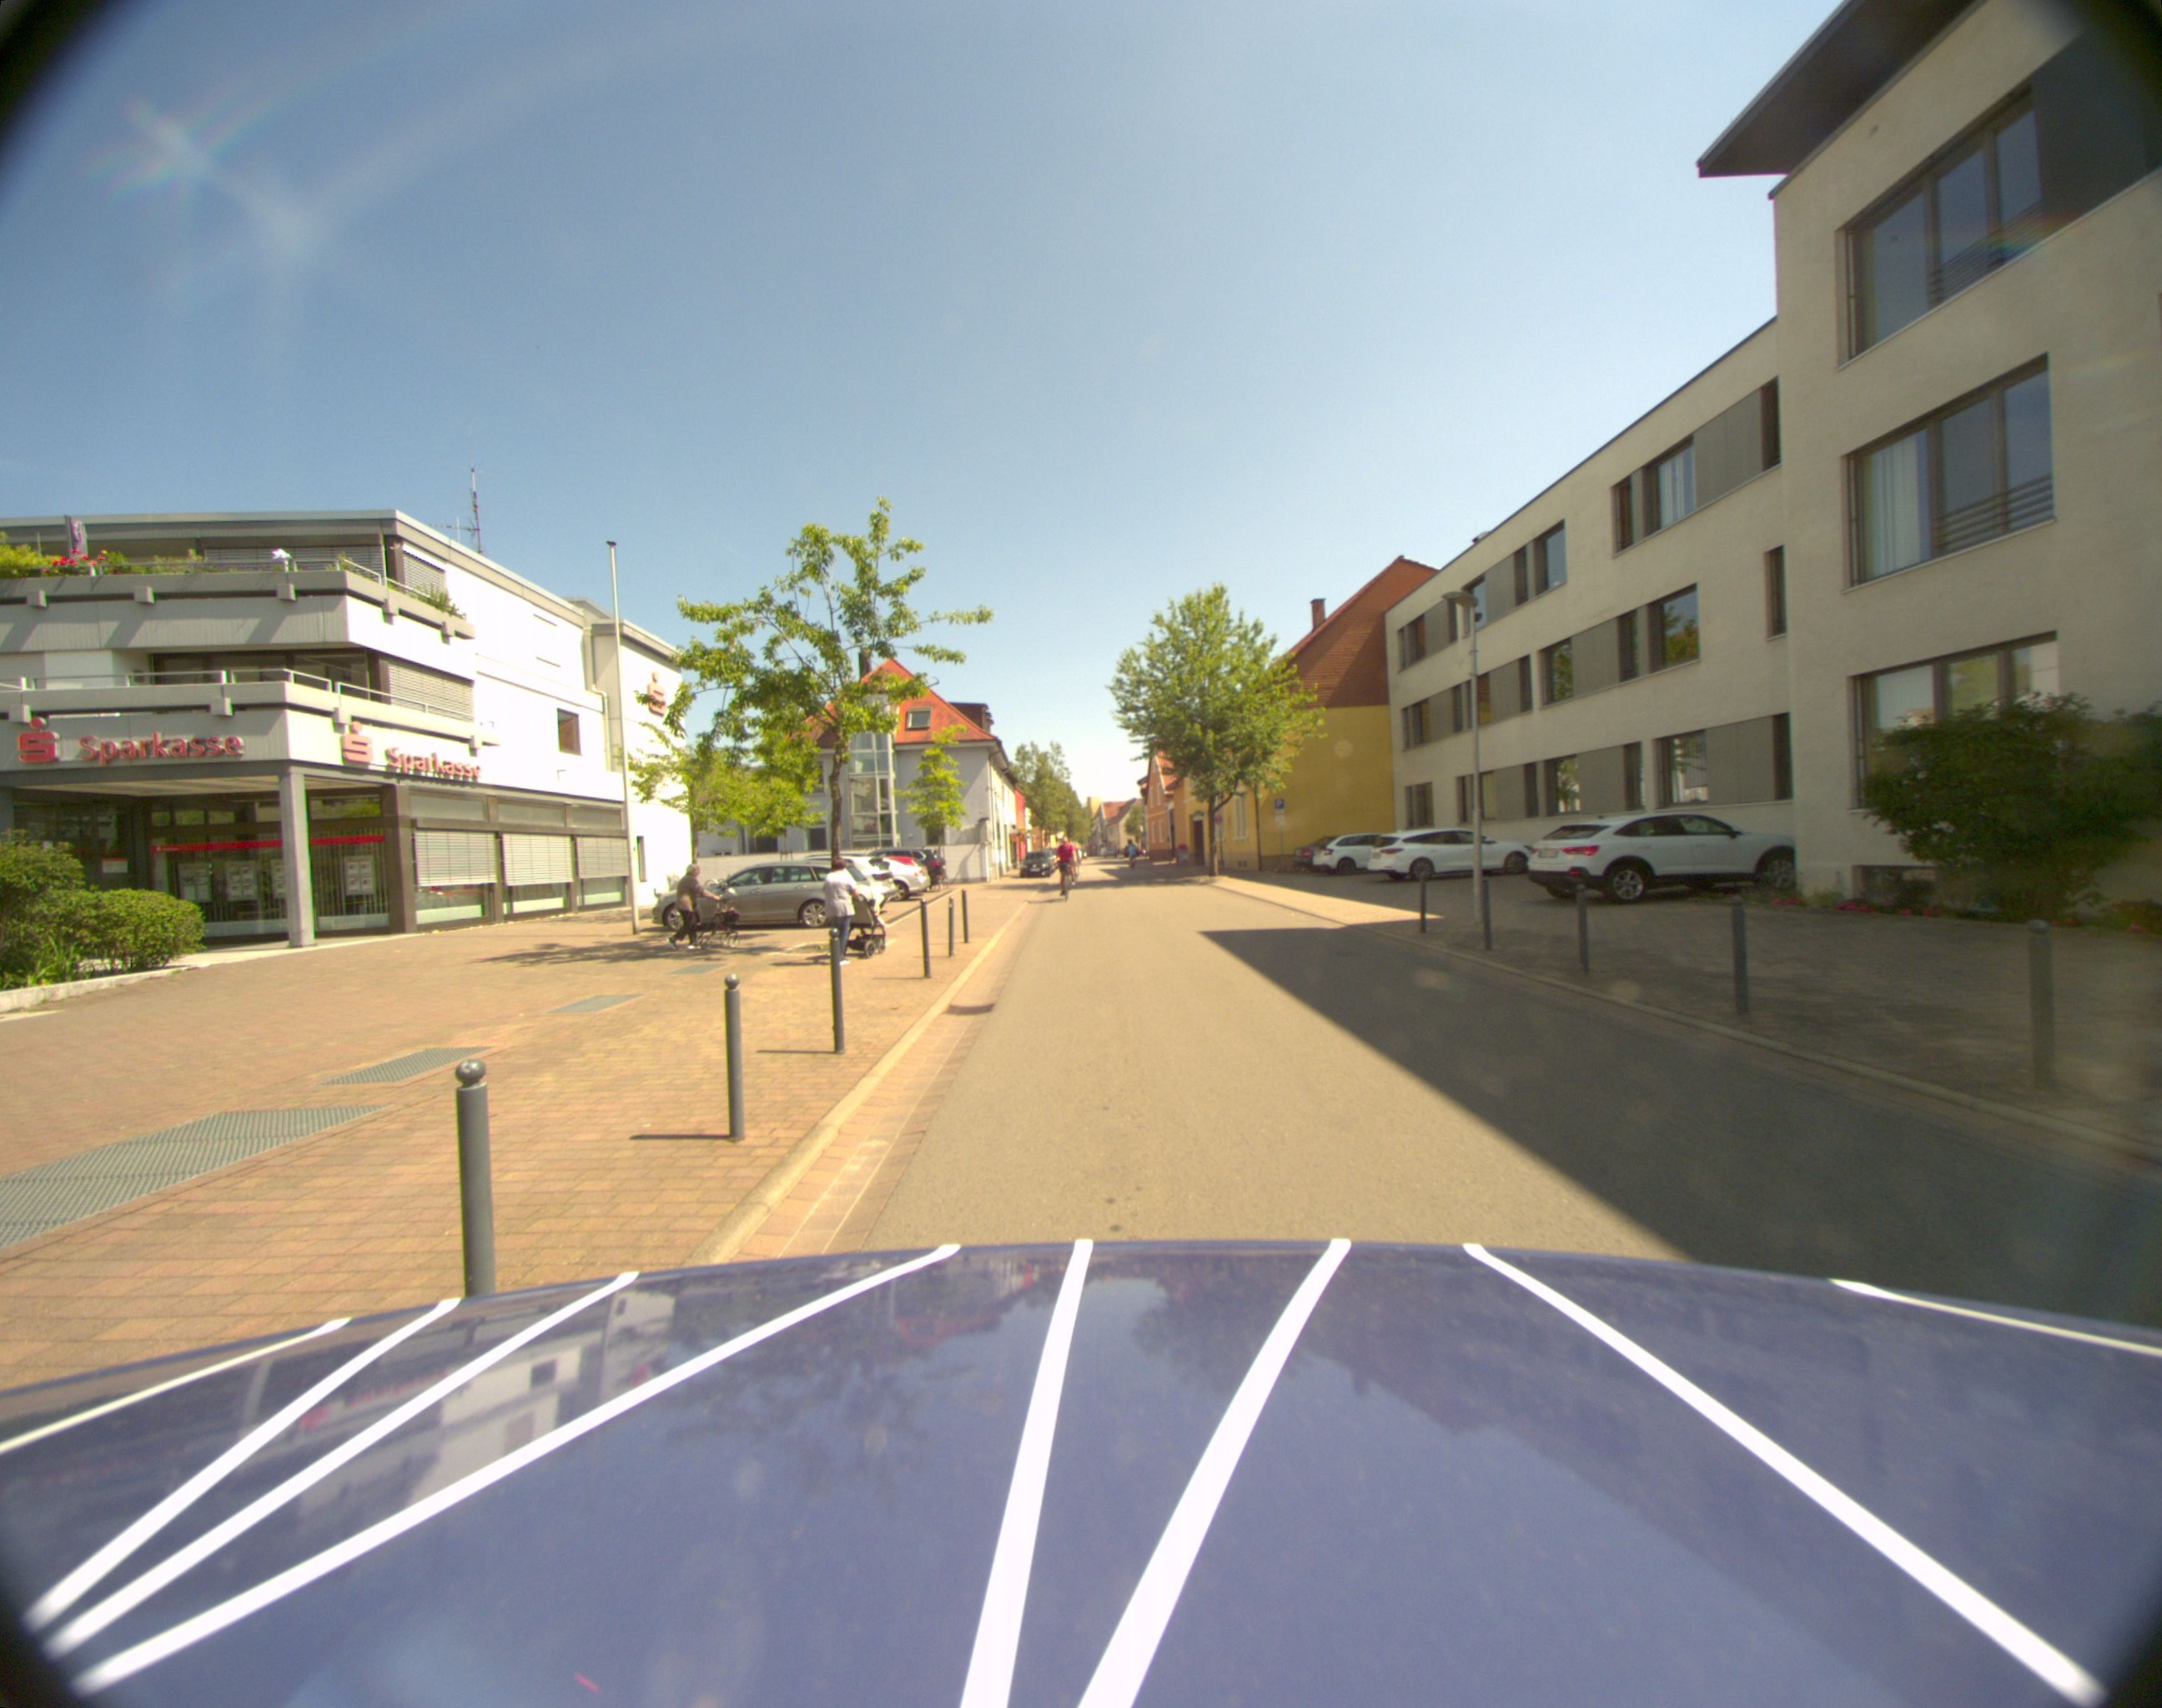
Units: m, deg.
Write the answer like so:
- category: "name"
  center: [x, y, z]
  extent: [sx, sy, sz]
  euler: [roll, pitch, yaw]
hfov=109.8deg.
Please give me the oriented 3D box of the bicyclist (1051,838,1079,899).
- category: "bicyclist"
  center: [-0.475, 0.418, 22.276]
  extent: [0.703, 1.707, 0.759]
  euler: [-4, 2, -3]

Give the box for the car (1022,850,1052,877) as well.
- category: "car"
  center: [-2.496, 0.495, 42.547]
  extent: [1.530, 1.444, 3.519]
  euler: [-1, 1, -5]

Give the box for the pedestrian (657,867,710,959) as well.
- category: "pedestrian"
  center: [-6.823, 0.988, 13.051]
  extent: [0.725, 1.492, 0.530]
  euler: [-3, 1, -27]

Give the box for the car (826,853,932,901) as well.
- category: "car"
  center: [-7.222, 0.789, 27.402]
  extent: [3.431, 1.543, 1.490]
  euler: [-2, 1, -5]

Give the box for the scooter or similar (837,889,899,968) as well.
- category: "scooter or similar"
  center: [-3.277, 1.133, 11.747]
  extent: [0.505, 1.112, 0.910]
  euler: [-1, 1, 14]

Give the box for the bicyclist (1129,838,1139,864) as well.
- category: "bicyclist"
  center: [3.443, -0.204, 49.447]
  extent: [0.538, 1.630, 0.551]
  euler: [-2, 1, -2]

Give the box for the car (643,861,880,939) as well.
- category: "car"
  center: [-6.862, 0.957, 16.719]
  extent: [4.446, 1.457, 1.689]
  euler: [-1, 2, -6]

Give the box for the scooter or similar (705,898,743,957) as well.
- category: "scooter or similar"
  center: [-6.265, 1.279, 13.335]
  extent: [0.547, 0.940, 0.535]
  euler: [-3, 1, -26]

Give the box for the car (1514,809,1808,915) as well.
- category: "car"
  center: [10.392, 0.118, 13.815]
  extent: [3.997, 1.539, 1.748]
  euler: [-4, 1, -2]

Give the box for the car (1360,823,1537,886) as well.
- category: "car"
  center: [10.596, 0.003, 22.079]
  extent: [4.324, 1.470, 1.513]
  euler: [-4, 1, 0]

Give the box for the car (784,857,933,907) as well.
- category: "car"
  center: [-7.171, 0.872, 24.868]
  extent: [4.446, 1.434, 1.655]
  euler: [-1, 1, -8]

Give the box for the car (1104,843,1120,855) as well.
- category: "car"
  center: [4.438, -0.737, 109.972]
  extent: [1.999, 1.696, 3.999]
  euler: [-2, 1, -1]

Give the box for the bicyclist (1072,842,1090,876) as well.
- category: "bicyclist"
  center: [0.004, 0.220, 36.178]
  extent: [0.703, 1.573, 0.878]
  euler: [-4, 2, -3]

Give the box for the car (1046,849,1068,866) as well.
- category: "car"
  center: [-1.975, 0.242, 61.912]
  extent: [1.530, 1.298, 3.248]
  euler: [-1, 1, -6]

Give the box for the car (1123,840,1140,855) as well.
- category: "car"
  center: [6.593, -0.832, 99.774]
  extent: [1.826, 1.805, 3.999]
  euler: [-2, 1, -1]

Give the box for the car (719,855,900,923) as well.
- category: "car"
  center: [-6.869, 0.847, 19.585]
  extent: [4.047, 1.550, 1.711]
  euler: [-1, 1, -6]

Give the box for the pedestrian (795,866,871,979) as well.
- category: "pedestrian"
  center: [-3.520, 0.937, 10.838]
  extent: [0.512, 1.507, 1.049]
  euler: [-1, 1, 14]

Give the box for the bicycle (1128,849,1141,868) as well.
- category: "bicycle"
  center: [3.460, 0.289, 49.456]
  extent: [0.595, 1.183, 1.724]
  euler: [-3, 1, -2]

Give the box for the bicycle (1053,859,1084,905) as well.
- category: "bicycle"
  center: [-0.387, 0.779, 22.054]
  extent: [0.738, 1.183, 1.970]
  euler: [-4, 1, -3]

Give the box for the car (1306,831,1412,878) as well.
- category: "car"
  center: [9.925, 0.010, 27.271]
  extent: [3.139, 1.442, 1.642]
  euler: [-4, 1, 1]

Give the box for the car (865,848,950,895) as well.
- category: "car"
  center: [-6.708, 0.651, 29.543]
  extent: [3.041, 1.727, 1.344]
  euler: [-1, 1, -5]

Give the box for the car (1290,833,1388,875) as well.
- category: "car"
  center: [9.962, -0.001, 29.481]
  extent: [3.258, 1.393, 1.374]
  euler: [-4, 1, -2]

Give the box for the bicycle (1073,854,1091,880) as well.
- category: "bicycle"
  center: [0.037, 0.604, 36.270]
  extent: [0.690, 1.183, 1.798]
  euler: [-4, 1, -3]
